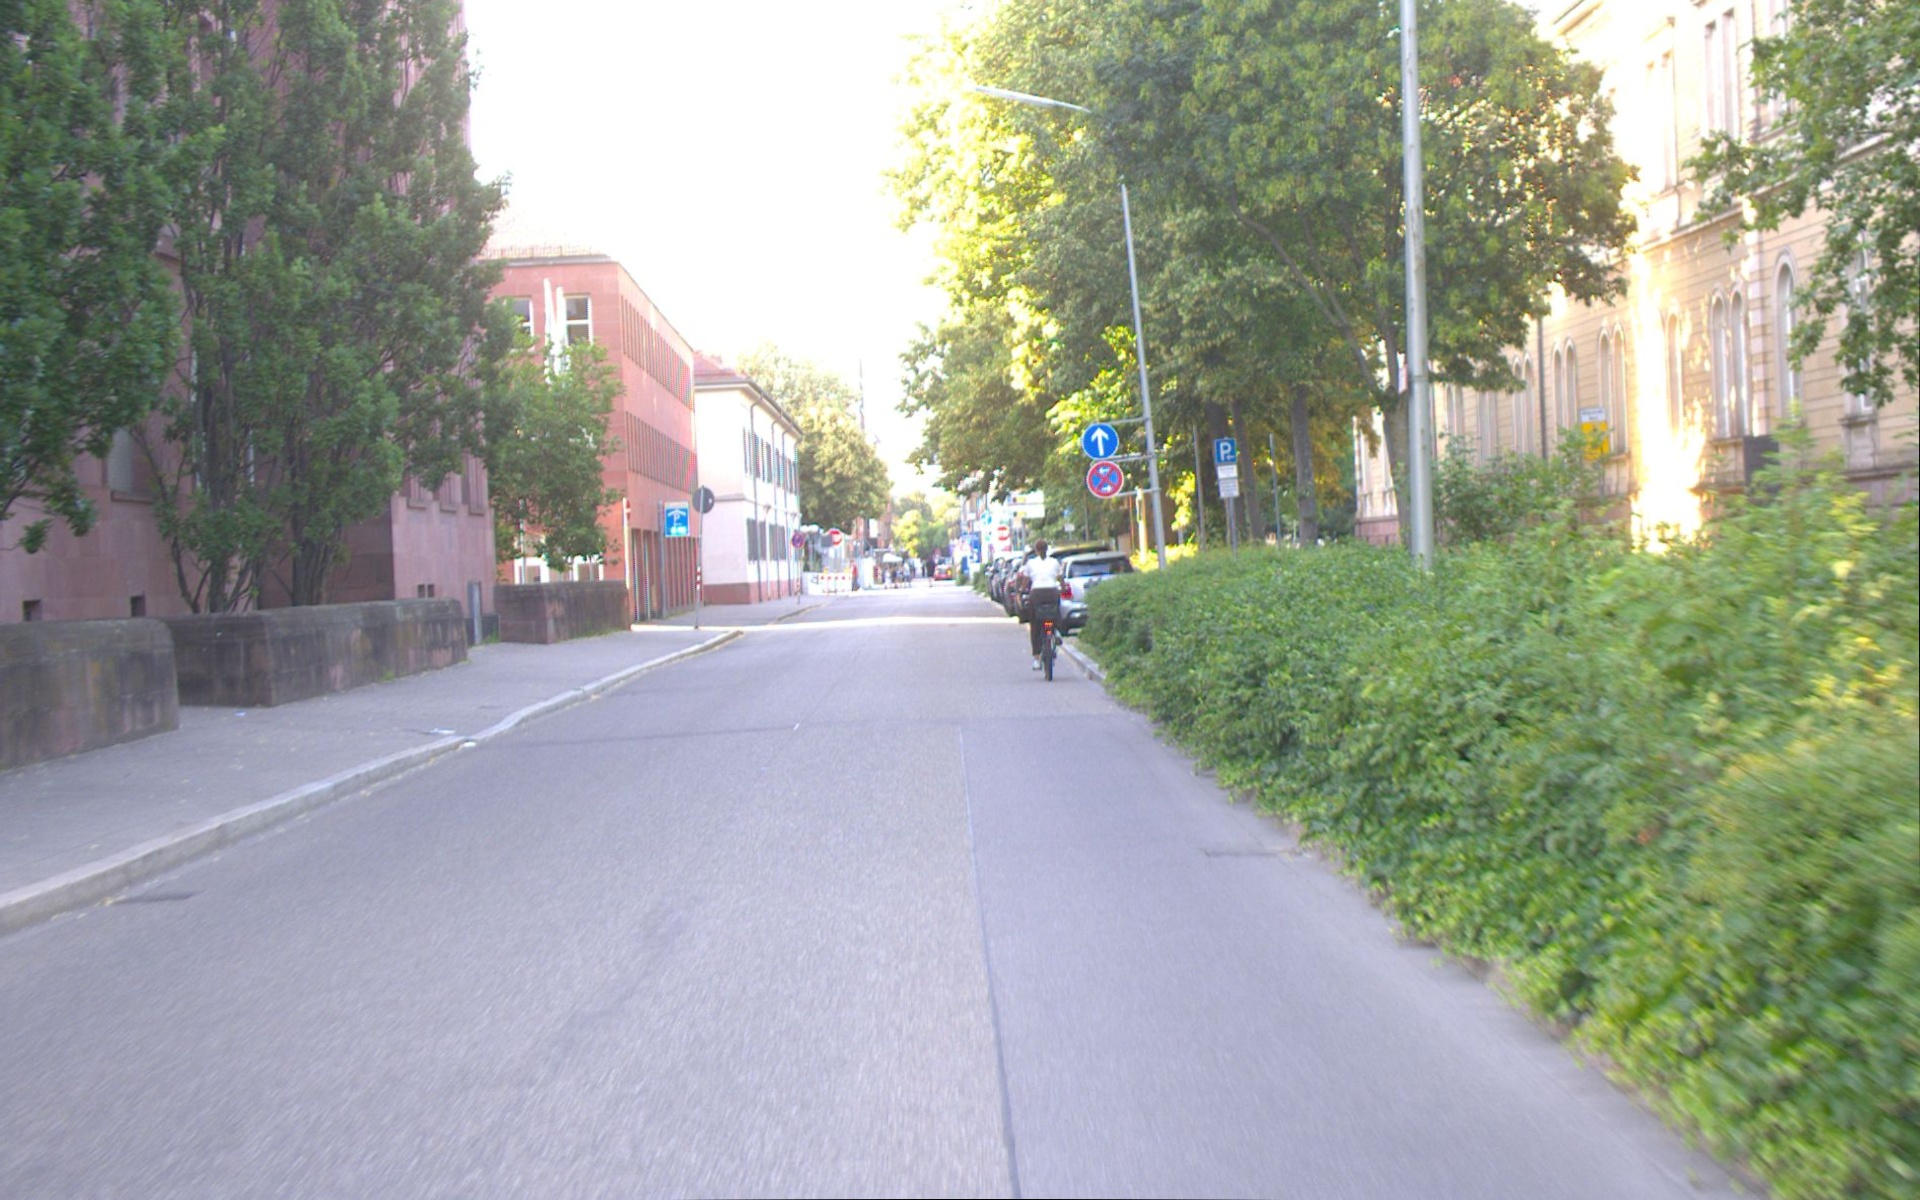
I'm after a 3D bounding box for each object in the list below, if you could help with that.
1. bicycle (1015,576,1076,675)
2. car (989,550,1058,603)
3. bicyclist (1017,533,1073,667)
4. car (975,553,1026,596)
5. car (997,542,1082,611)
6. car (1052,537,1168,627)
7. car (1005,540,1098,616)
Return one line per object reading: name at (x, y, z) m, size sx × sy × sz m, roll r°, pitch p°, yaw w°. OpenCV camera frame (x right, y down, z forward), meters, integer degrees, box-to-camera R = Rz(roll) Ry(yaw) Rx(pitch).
bicycle at (1.066, 0.305, 43.032) m, size 0.638 × 1.189 × 1.876 m, roll -1°, pitch 1°, yaw -2°
car at (2.046, -0.781, 112.029) m, size 1.993 × 1.579 × 4.000 m, roll -3°, pitch 1°, yaw -1°
bicyclist at (1.061, -0.010, 43.139) m, size 0.639 × 1.661 × 0.843 m, roll -1°, pitch 1°, yaw -2°
car at (1.754, -1.123, 149.819) m, size 1.993 × 1.743 × 4.000 m, roll -3°, pitch 1°, yaw -1°
car at (2.098, -0.639, 91.393) m, size 1.993 × 1.700 × 4.000 m, roll -3°, pitch 1°, yaw -1°
car at (2.659, -0.317, 61.743) m, size 1.685 × 1.442 × 3.672 m, roll -5°, pitch 0°, yaw -2°
car at (1.990, -0.501, 75.550) m, size 1.715 × 1.532 × 4.049 m, roll -3°, pitch 1°, yaw -2°
